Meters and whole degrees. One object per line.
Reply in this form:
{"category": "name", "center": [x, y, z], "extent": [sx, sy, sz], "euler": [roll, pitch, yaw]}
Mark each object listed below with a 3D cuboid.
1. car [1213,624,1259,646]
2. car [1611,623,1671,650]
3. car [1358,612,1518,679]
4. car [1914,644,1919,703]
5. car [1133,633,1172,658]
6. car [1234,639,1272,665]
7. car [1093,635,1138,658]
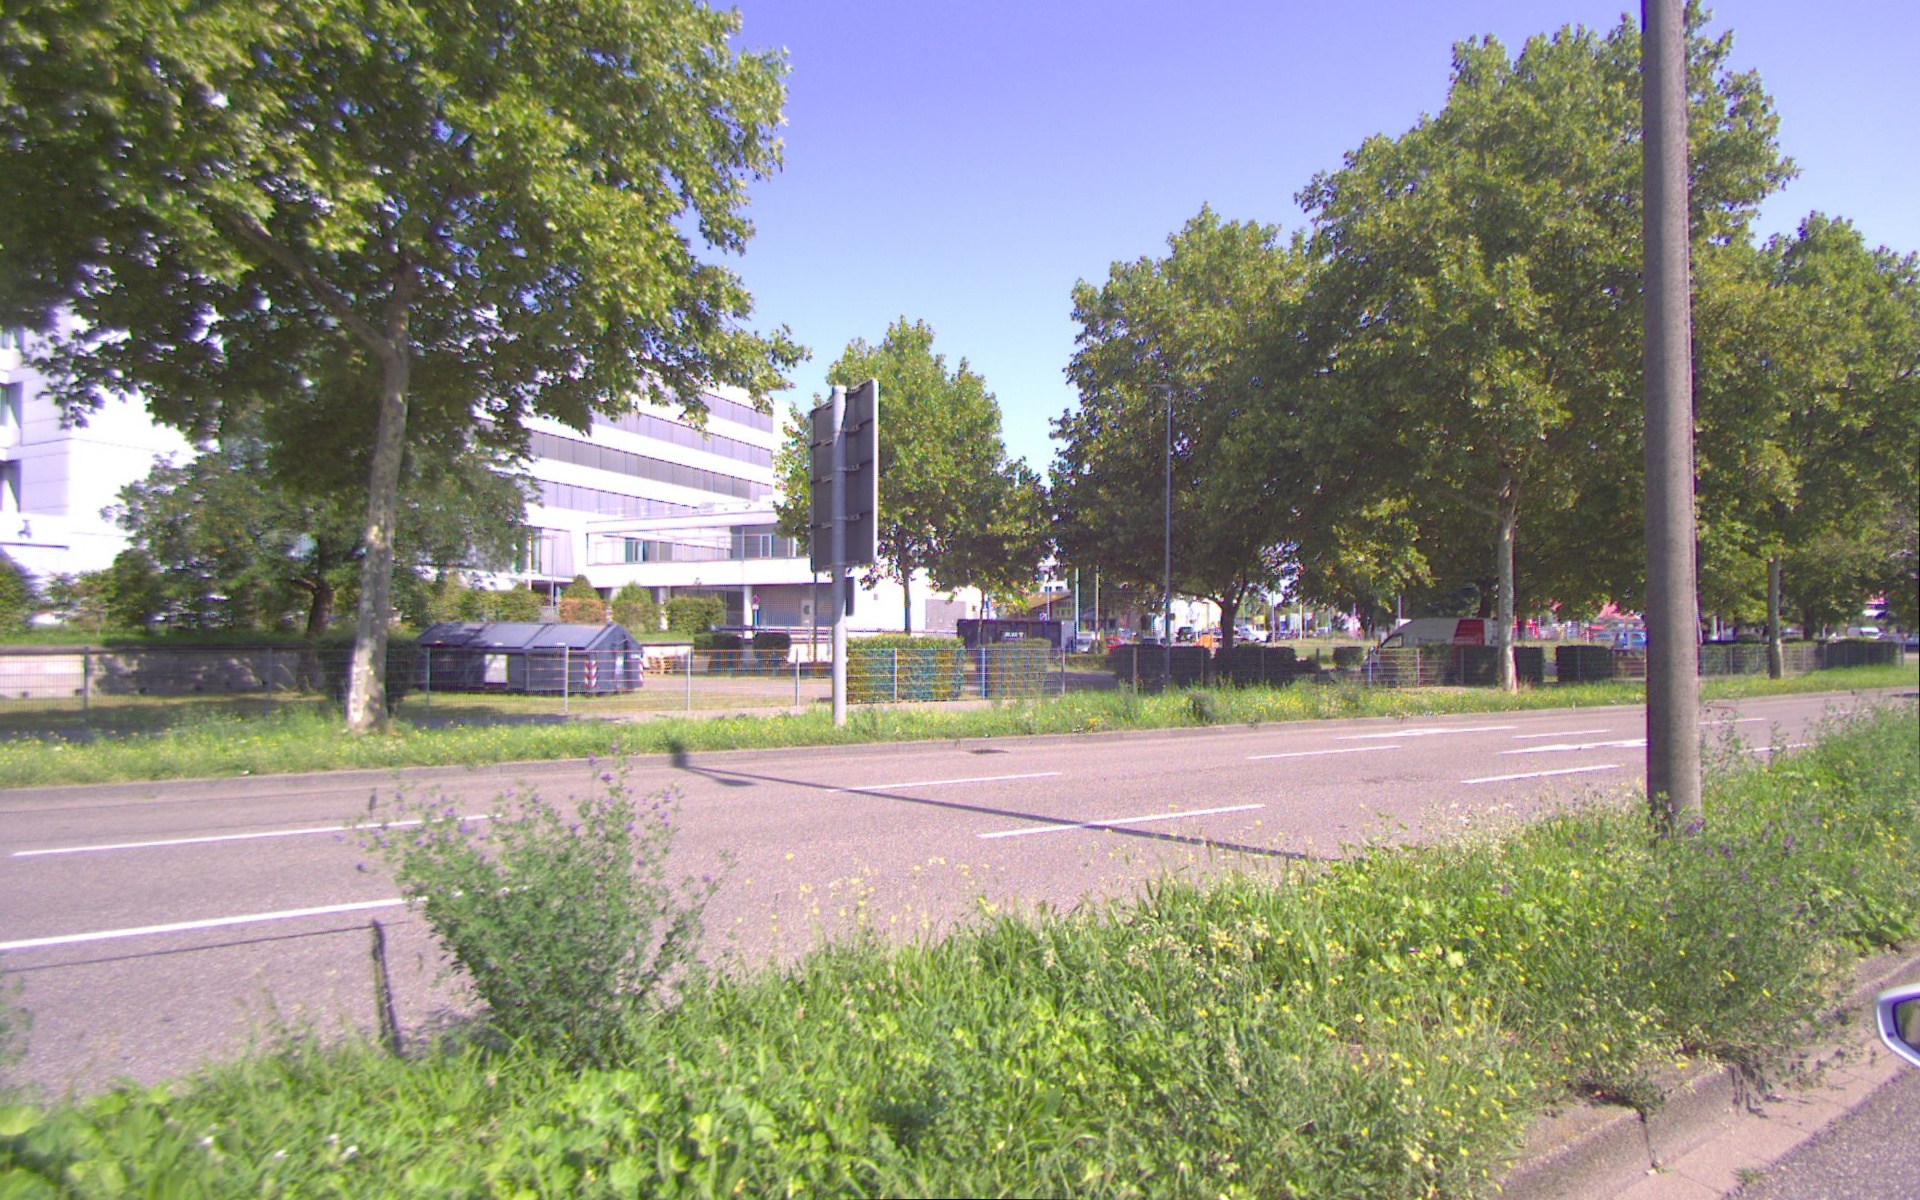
{"category": "car", "center": [26.219, 3.311, 95.372], "extent": [3.924, 2.041, 1.998], "euler": [-1, 1, 25]}
{"category": "car", "center": [55.682, 2.982, 82.237], "extent": [3.928, 2.041, 1.996], "euler": [0, 1, 30]}
{"category": "car", "center": [19.255, 1.761, 40.730], "extent": [2.252, 2.369, 5.555], "euler": [-2, 1, -31]}
{"category": "car", "center": [28.533, 1.988, 27.910], "extent": [3.954, 1.582, 1.983], "euler": [-2, 1, -31]}
{"category": "car", "center": [13.786, 3.216, 71.748], "extent": [1.895, 1.472, 3.997], "euler": [-1, 1, 24]}
{"category": "car", "center": [19.740, 3.495, 67.630], "extent": [1.895, 1.472, 3.997], "euler": [-1, 1, 24]}
{"category": "car", "center": [15.156, 4.524, 98.055], "extent": [3.924, 2.041, 1.998], "euler": [-1, 1, 25]}
